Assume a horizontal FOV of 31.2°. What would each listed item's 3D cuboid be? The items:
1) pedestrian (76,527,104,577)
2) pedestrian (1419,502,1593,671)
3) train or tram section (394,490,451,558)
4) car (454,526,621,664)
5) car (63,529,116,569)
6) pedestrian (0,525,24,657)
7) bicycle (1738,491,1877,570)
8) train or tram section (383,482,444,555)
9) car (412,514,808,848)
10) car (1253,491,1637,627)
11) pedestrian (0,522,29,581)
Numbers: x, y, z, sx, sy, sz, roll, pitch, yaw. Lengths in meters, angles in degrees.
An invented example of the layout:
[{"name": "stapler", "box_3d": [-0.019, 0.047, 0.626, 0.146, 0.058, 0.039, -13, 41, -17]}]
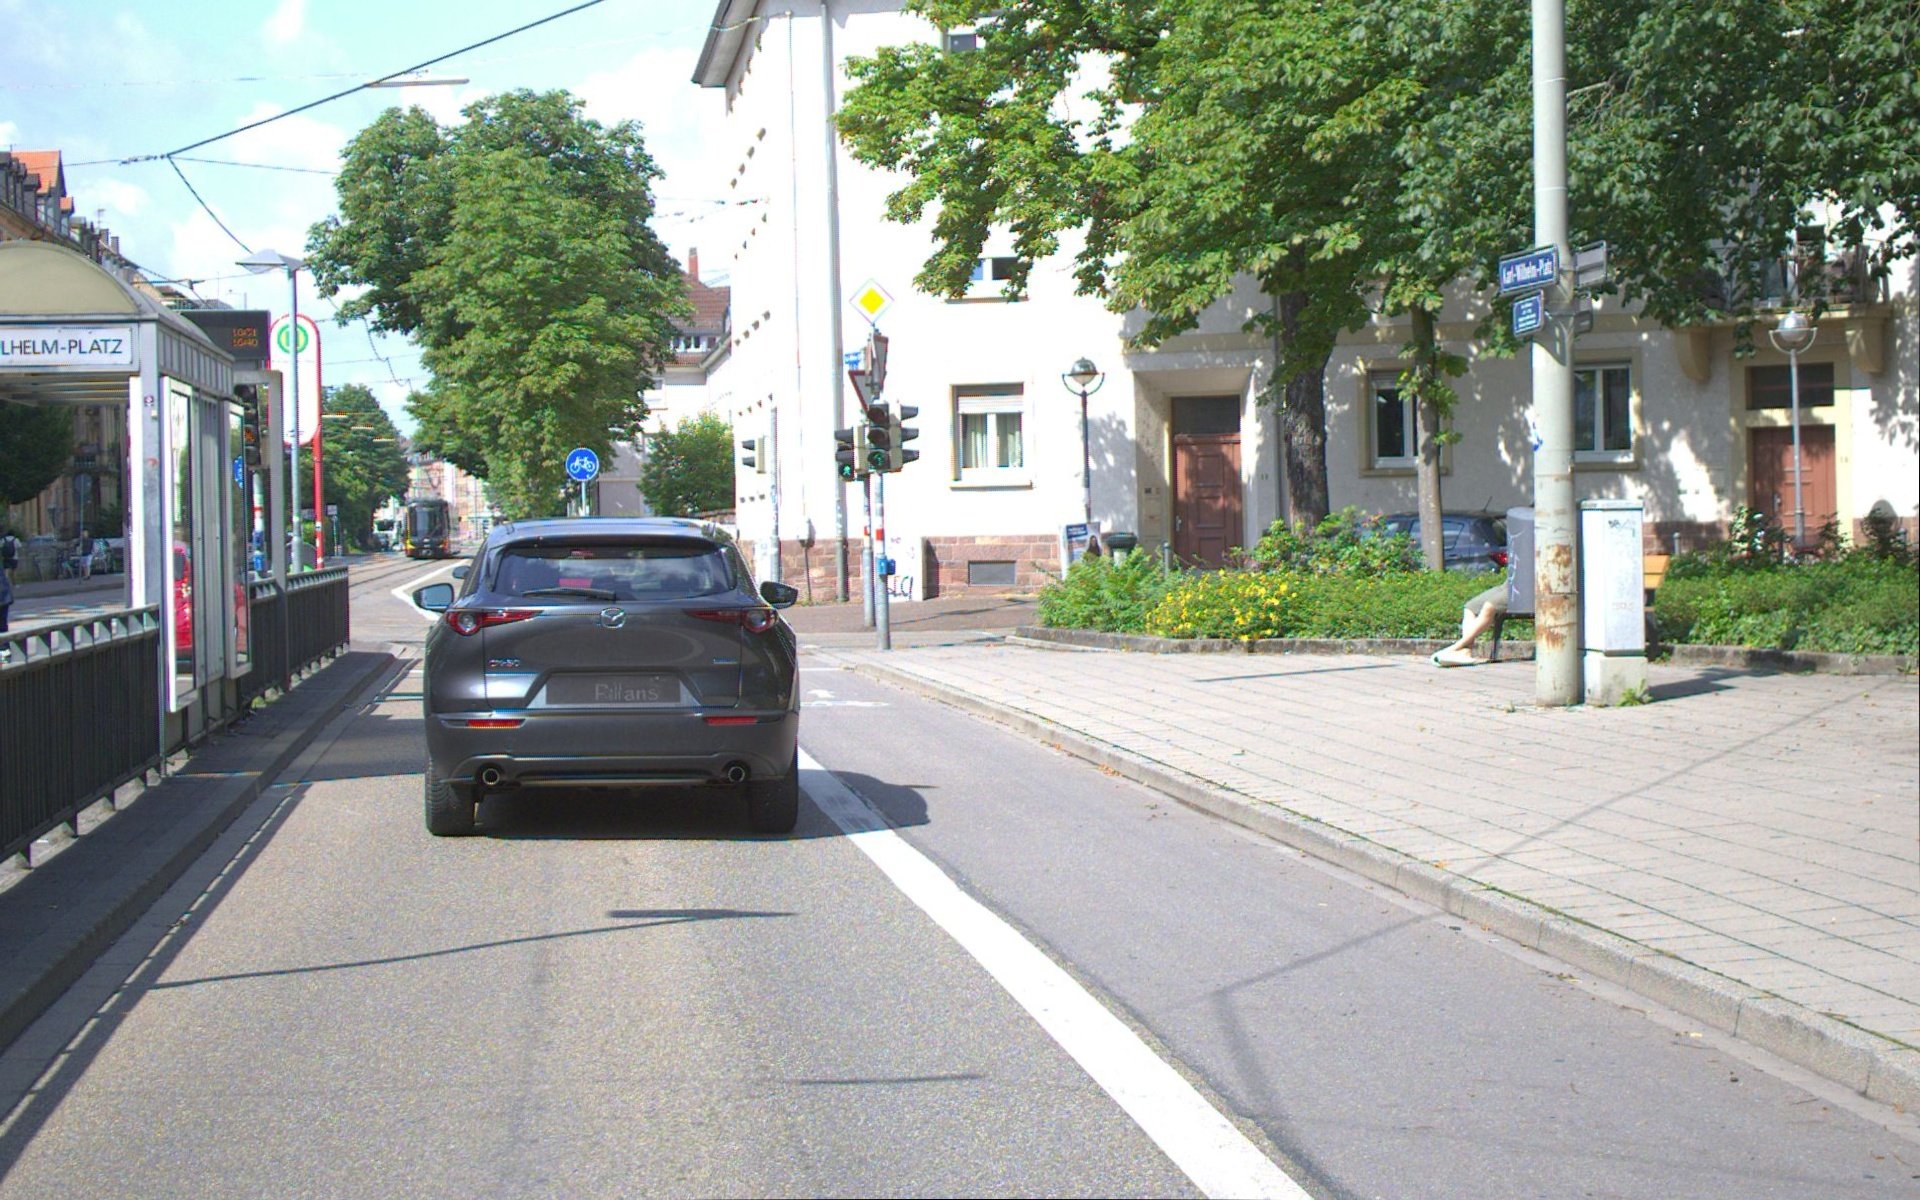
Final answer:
[{"name": "pedestrian", "box_3d": [-29.536, -1.633, 116.738, 0.787, 1.682, 0.732, -1, 1, -5]}, {"name": "pedestrian", "box_3d": [4.350, -0.111, 27.416, 1.192, 1.264, 0.558, -4, 2, -11]}, {"name": "train or tram section", "box_3d": [-33.451, -4.684, 214.247, 2.997, 3.970, 13.812, -1, 1, -7]}, {"name": "car", "box_3d": [-4.792, -0.092, 38.921, 1.775, 1.459, 3.843, 0, 1, -7]}, {"name": "car", "box_3d": [-36.189, -2.143, 143.027, 1.656, 1.590, 3.931, -1, 1, -8]}, {"name": "pedestrian", "box_3d": [-11.393, -0.106, 40.364, 0.667, 1.540, 0.581, -1, 1, -8]}, {"name": "bicycle", "box_3d": [11.409, -0.928, 46.309, 0.565, 1.016, 1.752, -5, 4, -44]}, {"name": "train or tram section", "box_3d": [-31.840, -4.668, 200.650, 2.997, 3.970, 13.812, -1, 1, -7]}, {"name": "car", "box_3d": [-1.907, 0.340, 17.718, 1.781, 1.509, 4.001, 1, 1, -9]}, {"name": "car", "box_3d": [5.824, -0.494, 41.463, 4.167, 1.504, 1.848, 0, 3, 35]}, {"name": "pedestrian", "box_3d": [-27.356, -1.400, 99.208, 0.787, 1.682, 0.732, -1, 1, -5]}]
